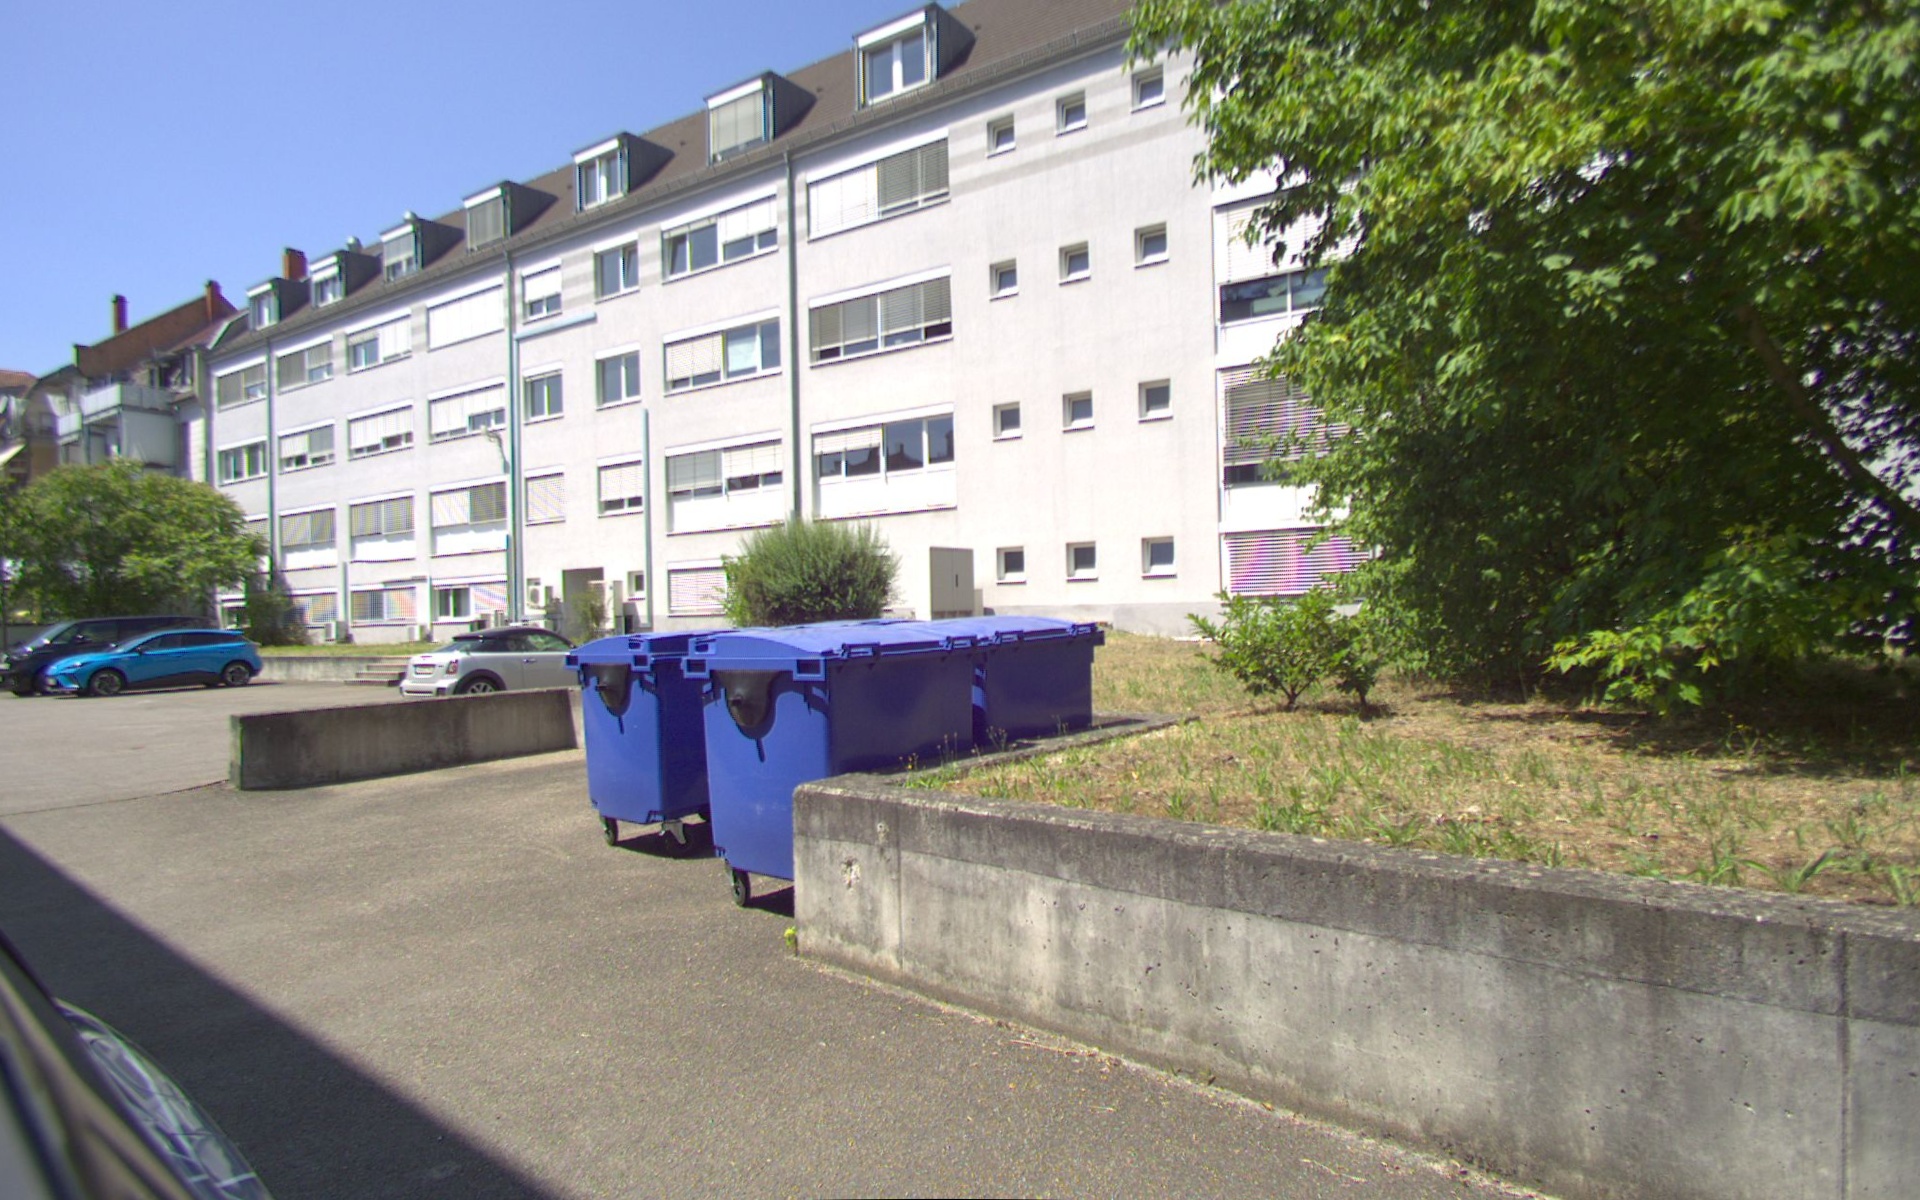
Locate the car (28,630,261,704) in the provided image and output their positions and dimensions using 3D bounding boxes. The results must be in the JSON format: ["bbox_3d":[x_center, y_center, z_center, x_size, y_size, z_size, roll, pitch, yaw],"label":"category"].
[{"bbox_3d":[-20.003,1.590,25.000,1.854,1.565,4.123,-2,-1,33],"label":"car"}]

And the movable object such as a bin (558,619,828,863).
[{"bbox_3d":[-1.691,0.812,6.483,1.103,1.338,1.242,-3,-1,38],"label":"movable object such as a bin"}]

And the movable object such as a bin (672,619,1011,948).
[{"bbox_3d":[-0.567,0.786,5.031,1.103,1.338,1.242,-3,-1,38],"label":"movable object such as a bin"}]

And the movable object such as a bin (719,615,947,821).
[{"bbox_3d":[-0.931,0.806,7.536,1.103,1.338,1.242,-3,-1,38],"label":"movable object such as a bin"}]

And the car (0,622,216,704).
[{"bbox_3d":[-22.328,1.555,26.342,1.995,1.846,4.398,-2,-1,35],"label":"car"}]

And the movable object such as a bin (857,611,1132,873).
[{"bbox_3d":[0.226,0.756,6.078,1.103,1.338,1.242,-3,-1,38],"label":"movable object such as a bin"}]

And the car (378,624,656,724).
[{"bbox_3d":[-7.217,1.143,16.835,1.707,1.447,3.953,-2,-2,34],"label":"car"}]
